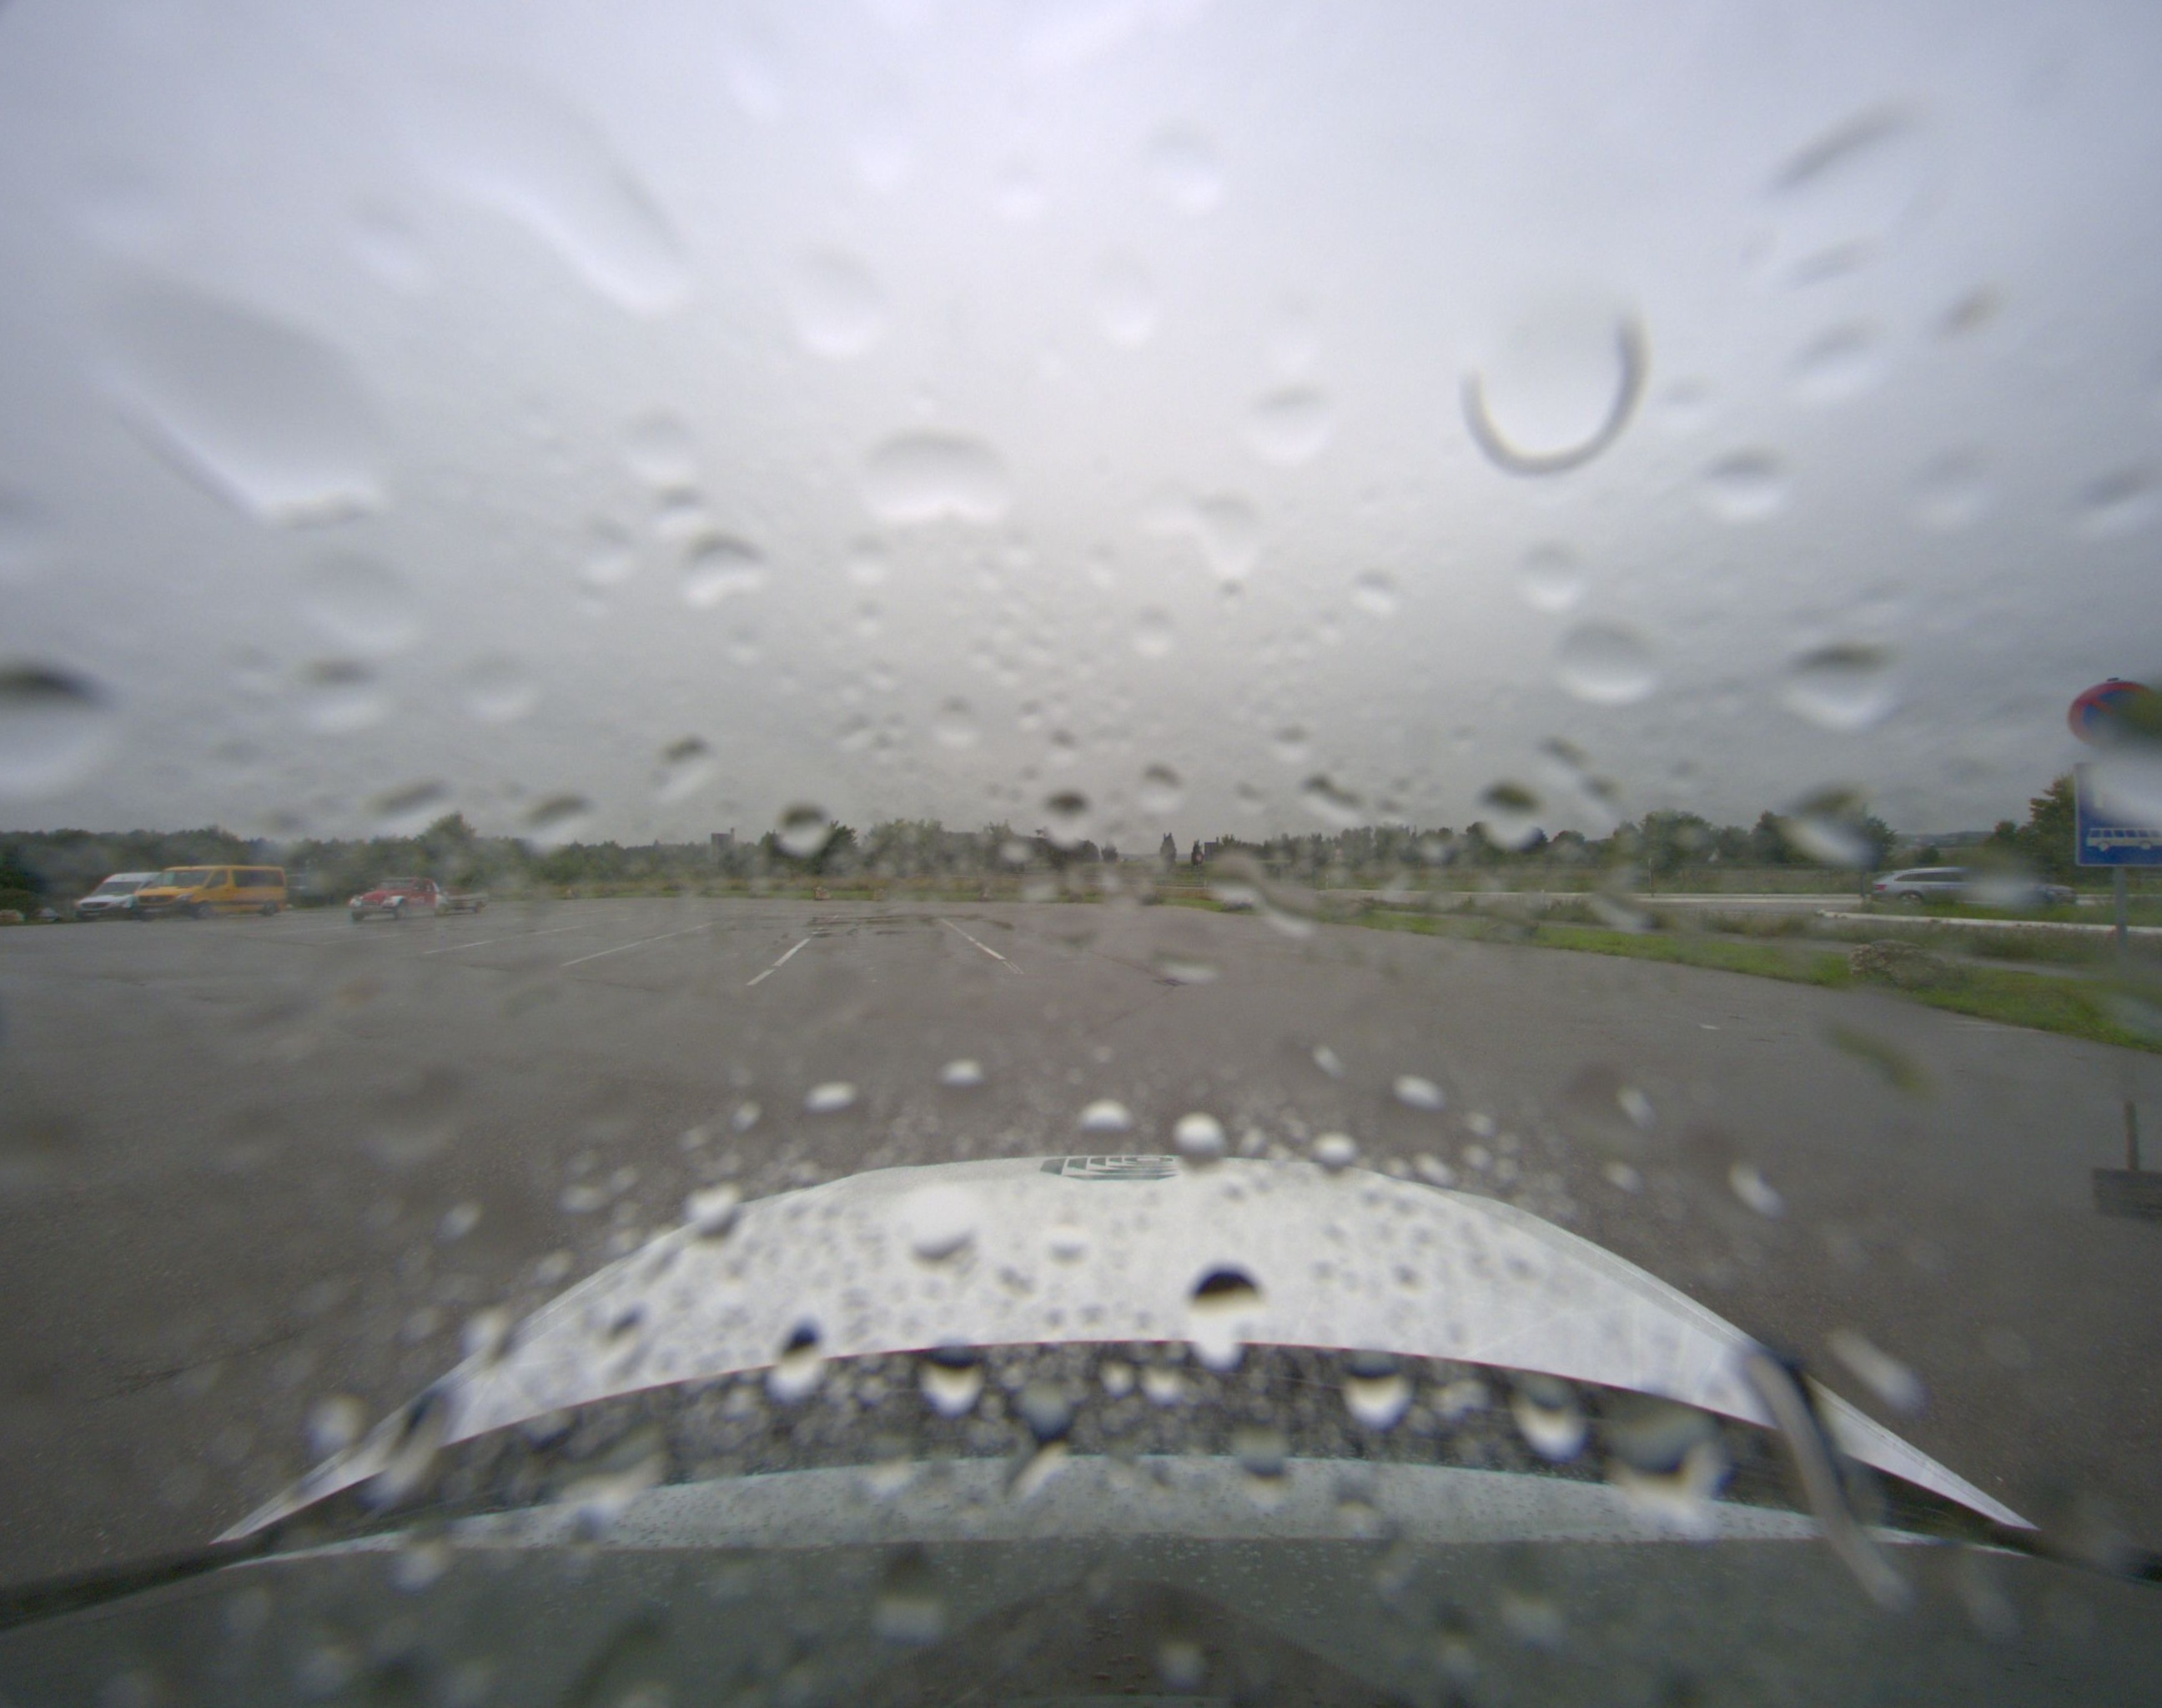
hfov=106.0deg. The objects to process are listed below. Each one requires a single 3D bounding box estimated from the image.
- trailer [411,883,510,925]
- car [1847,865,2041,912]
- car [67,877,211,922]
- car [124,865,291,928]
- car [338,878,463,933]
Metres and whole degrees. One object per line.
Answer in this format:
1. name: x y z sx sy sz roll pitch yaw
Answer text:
1. trailer: -25.693 2.024 33.885 1.696 1.533 3.983 -2 -1 -12
2. car: 30.715 1.190 29.114 2.010 1.481 4.608 -2 0 -39
3. car: -50.200 2.372 43.585 1.986 2.202 4.775 0 -1 2
4. car: -37.482 1.791 35.262 1.997 2.380 5.993 -3 -1 -15
5. car: -24.877 1.825 29.981 1.823 1.777 3.983 -2 -1 -12
